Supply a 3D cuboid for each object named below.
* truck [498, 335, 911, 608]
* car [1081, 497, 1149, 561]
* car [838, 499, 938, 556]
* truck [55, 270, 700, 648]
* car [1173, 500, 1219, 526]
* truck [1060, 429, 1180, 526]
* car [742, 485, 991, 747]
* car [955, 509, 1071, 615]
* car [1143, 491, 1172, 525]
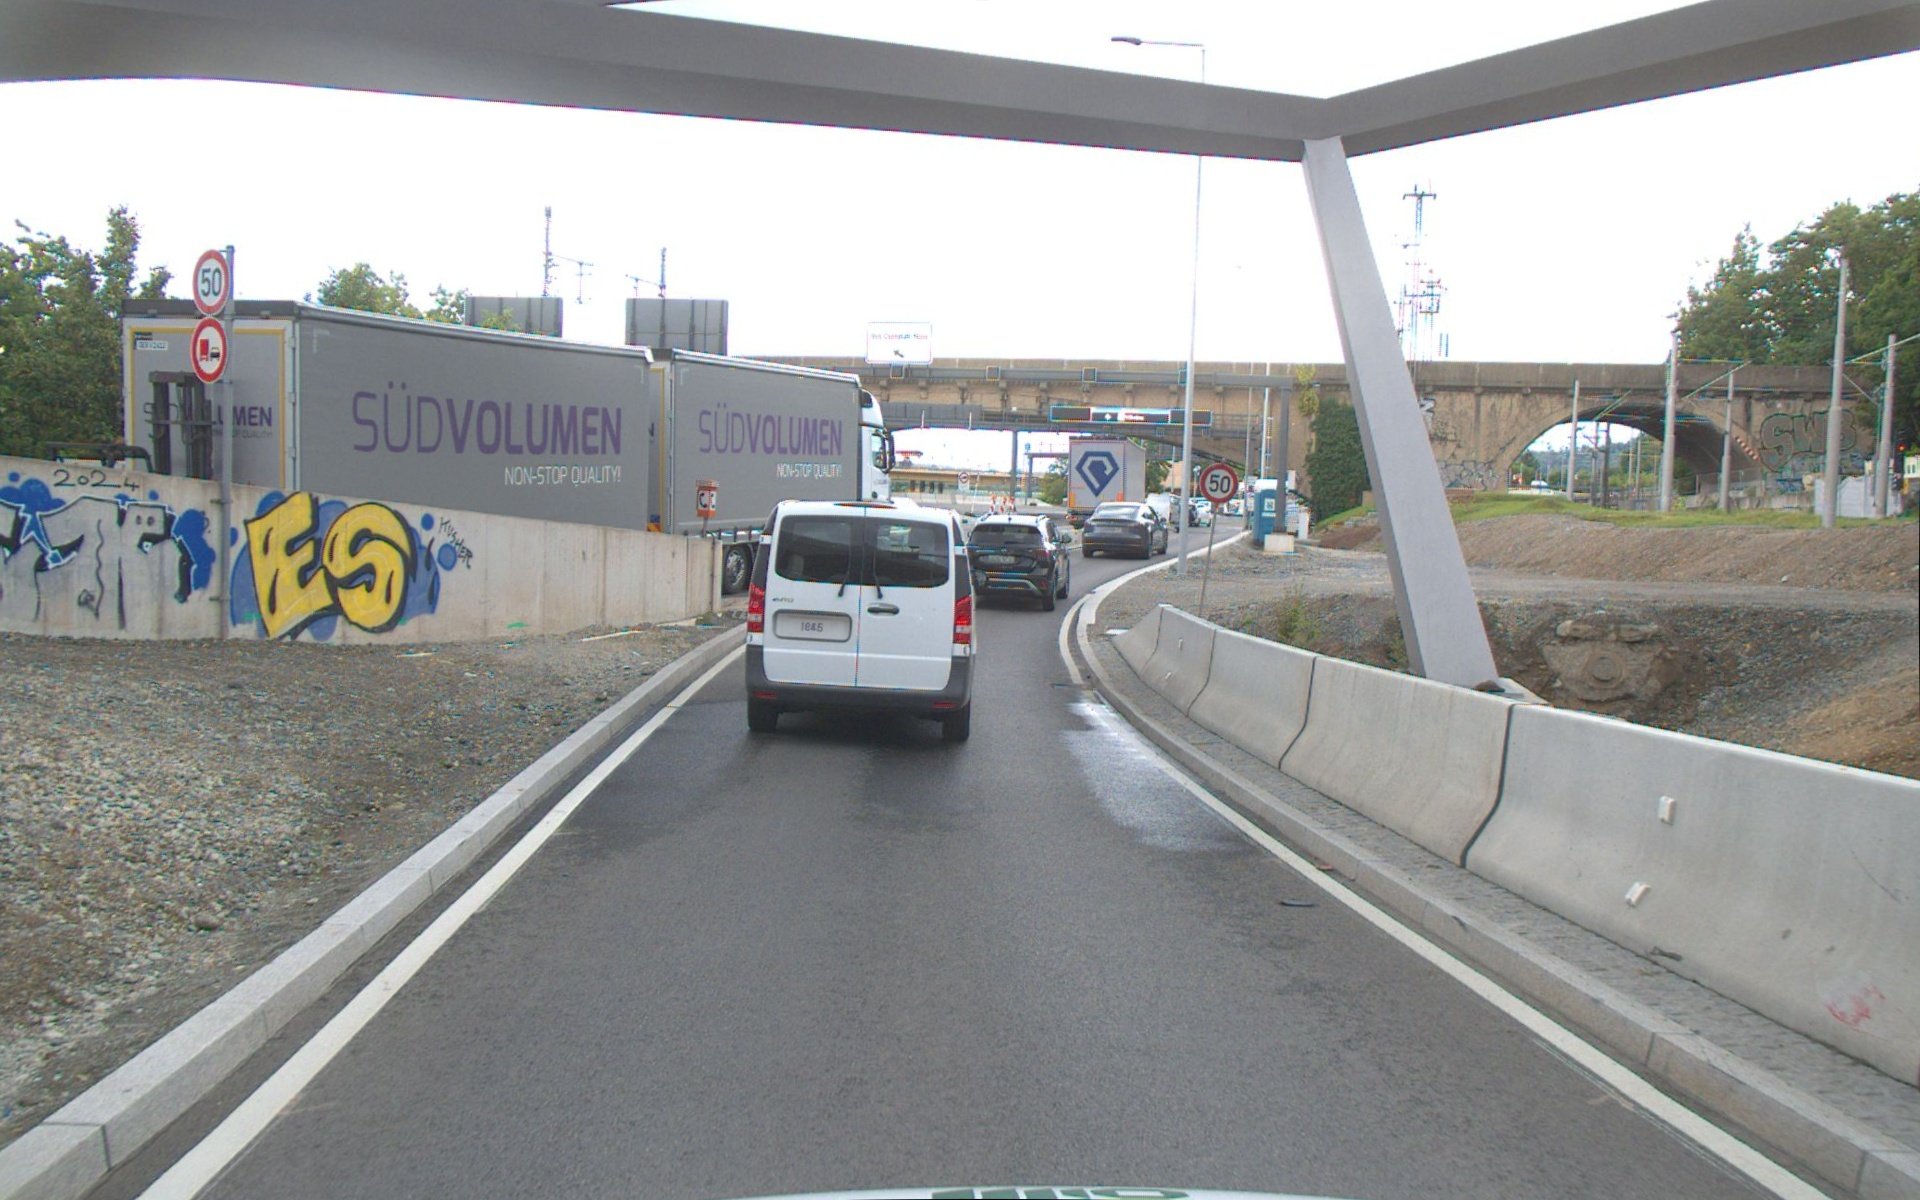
[{"bbox_3d":[-4.352,-2.474,31.918,2.926,4.246,11.250,4,5,18],"label":"truck"},{"bbox_3d":[4.213,-1.953,44.612,1.469,1.493,3.404,4,5,10],"label":"car"},{"bbox_3d":[-2.210,-2.231,51.678,1.951,1.578,4.003,3,2,15],"label":"car"},{"bbox_3d":[-7.379,-1.936,23.299,2.857,4.084,10.209,4,5,18],"label":"truck"},{"bbox_3d":[20.011,-7.376,140.120,1.867,1.840,4.467,5,2,36],"label":"car"},{"bbox_3d":[7.834,-5.700,78.303,3.247,3.873,16.613,5,4,13],"label":"truck"},{"bbox_3d":[-0.738,0.064,14.921,1.838,1.923,4.753,2,1,-1],"label":"car"},{"bbox_3d":[1.024,-0.754,29.966,1.713,1.652,3.849,4,4,6],"label":"car"},{"bbox_3d":[14.164,-6.588,118.621,1.858,2.152,4.489,4,2,8],"label":"car"}]
